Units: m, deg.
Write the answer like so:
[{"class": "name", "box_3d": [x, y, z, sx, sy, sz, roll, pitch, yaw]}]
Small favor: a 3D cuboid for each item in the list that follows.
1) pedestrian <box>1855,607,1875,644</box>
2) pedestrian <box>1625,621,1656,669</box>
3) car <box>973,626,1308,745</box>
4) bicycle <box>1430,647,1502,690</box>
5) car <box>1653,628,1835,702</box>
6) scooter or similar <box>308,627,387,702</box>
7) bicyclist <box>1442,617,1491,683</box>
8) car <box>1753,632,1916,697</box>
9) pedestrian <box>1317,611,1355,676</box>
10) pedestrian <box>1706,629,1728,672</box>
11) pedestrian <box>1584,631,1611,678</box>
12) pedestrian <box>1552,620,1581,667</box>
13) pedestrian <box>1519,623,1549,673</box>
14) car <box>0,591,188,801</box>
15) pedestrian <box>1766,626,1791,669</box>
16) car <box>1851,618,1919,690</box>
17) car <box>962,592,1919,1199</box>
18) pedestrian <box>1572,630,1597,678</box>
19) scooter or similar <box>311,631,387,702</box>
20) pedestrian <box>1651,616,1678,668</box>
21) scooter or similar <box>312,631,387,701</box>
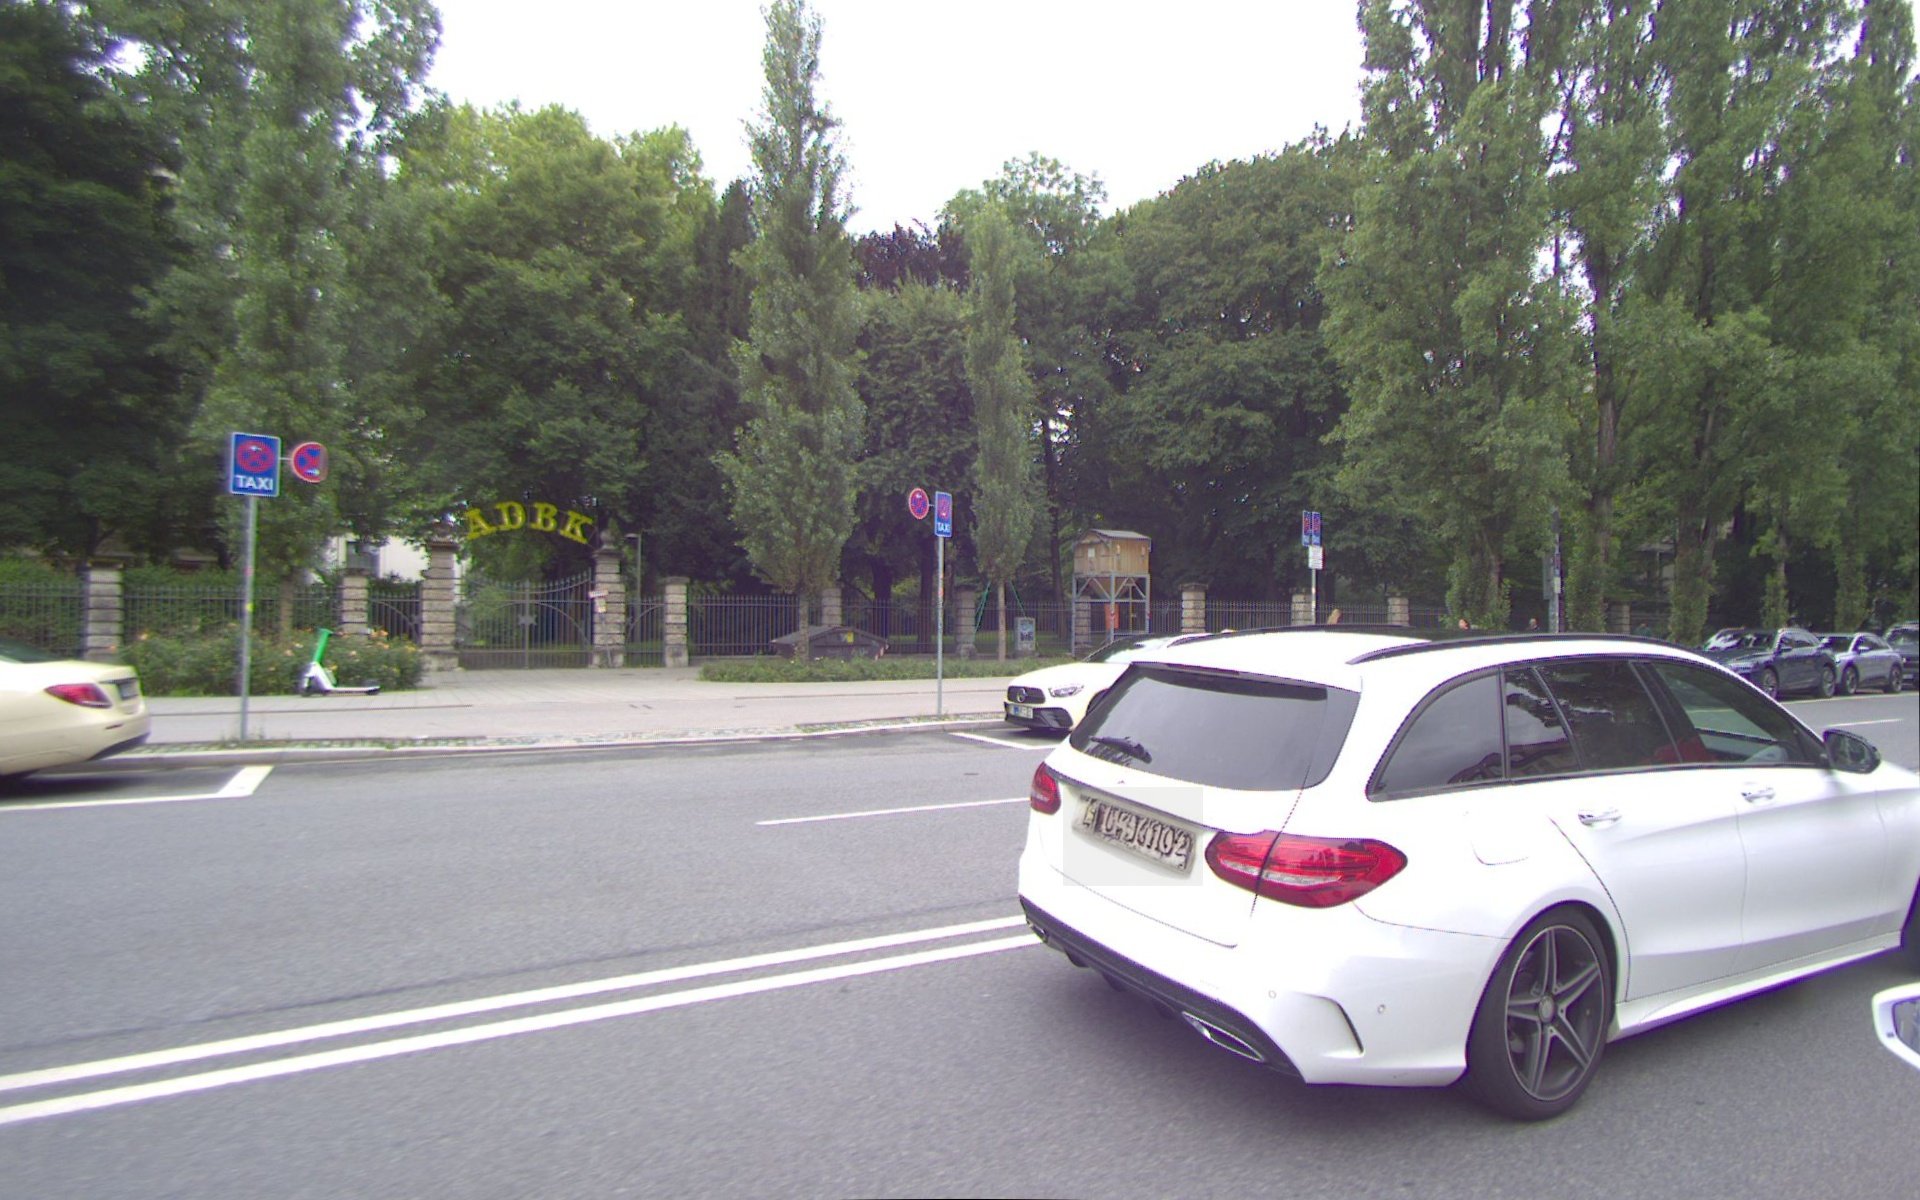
[{"class": "pedestrian", "box_3d": [45.031, 1.268, 49.959, 0.665, 1.771, 0.547, 1, 0, -30]}, {"class": "pedestrian", "box_3d": [27.404, 1.796, 40.463, 0.748, 1.879, 0.744, 1, 0, -28]}, {"class": "car", "box_3d": [2.714, 1.143, 14.840, 4.731, 1.517, 1.923, 1, -1, -29]}, {"class": "bicycle", "box_3d": [11.938, 1.604, 23.683, 1.715, 0.951, 0.704, 1, 0, -31]}, {"class": "car", "box_3d": [18.560, 1.498, 23.752, 4.558, 1.617, 1.774, 1, -3, -30]}, {"class": "scooter or similar", "box_3d": [-10.645, 1.113, 17.482, 1.126, 1.258, 0.257, 1, -1, -29]}, {"class": "bicyclist", "box_3d": [11.941, 1.161, 23.687, 0.851, 1.518, 0.690, 1, -1, -30]}, {"class": "car", "box_3d": [23.355, 1.661, 26.797, 4.599, 1.605, 1.882, 1, -2, -30]}, {"class": "pedestrian", "box_3d": [10.241, 1.168, 27.355, 0.778, 1.743, 0.579, 1, 0, -30]}, {"class": "pedestrian", "box_3d": [31.153, 2.064, 41.347, 0.562, 1.730, 0.506, 1, 0, -28]}, {"class": "pedestrian", "box_3d": [23.317, 1.983, 36.736, 0.665, 1.691, 0.547, 1, 0, -28]}, {"class": "pedestrian", "box_3d": [22.899, 1.622, 37.945, 0.724, 1.745, 0.664, 1, -1, -28]}, {"class": "pedestrian", "box_3d": [19.855, 1.663, 34.756, 0.695, 1.682, 0.616, 1, 0, -28]}, {"class": "car", "box_3d": [-9.371, 0.717, 7.920, 4.906, 1.645, 1.929, 2, -2, -30]}, {"class": "pedestrian", "box_3d": [34.884, 2.011, 42.817, 0.748, 1.780, 0.605, 1, -1, -30]}, {"class": "car", "box_3d": [28.496, 1.562, 29.523, 4.878, 1.982, 1.985, 1, -3, -30]}, {"class": "car", "box_3d": [2.432, 0.774, 4.283, 4.525, 1.474, 1.818, 2, 0, -28]}, {"class": "pedestrian", "box_3d": [23.252, 2.005, 37.390, 0.714, 1.730, 0.506, 1, 0, -28]}, {"class": "scooter or similar", "box_3d": [-10.770, 1.166, 17.721, 1.109, 1.217, 0.242, 1, -1, -29]}, {"class": "pedestrian", "box_3d": [27.936, 1.649, 39.846, 0.631, 2.040, 0.663, 1, 0, -30]}, {"class": "scooter or similar", "box_3d": [-10.891, 1.165, 17.954, 1.109, 1.217, 0.242, 1, -1, -29]}]
